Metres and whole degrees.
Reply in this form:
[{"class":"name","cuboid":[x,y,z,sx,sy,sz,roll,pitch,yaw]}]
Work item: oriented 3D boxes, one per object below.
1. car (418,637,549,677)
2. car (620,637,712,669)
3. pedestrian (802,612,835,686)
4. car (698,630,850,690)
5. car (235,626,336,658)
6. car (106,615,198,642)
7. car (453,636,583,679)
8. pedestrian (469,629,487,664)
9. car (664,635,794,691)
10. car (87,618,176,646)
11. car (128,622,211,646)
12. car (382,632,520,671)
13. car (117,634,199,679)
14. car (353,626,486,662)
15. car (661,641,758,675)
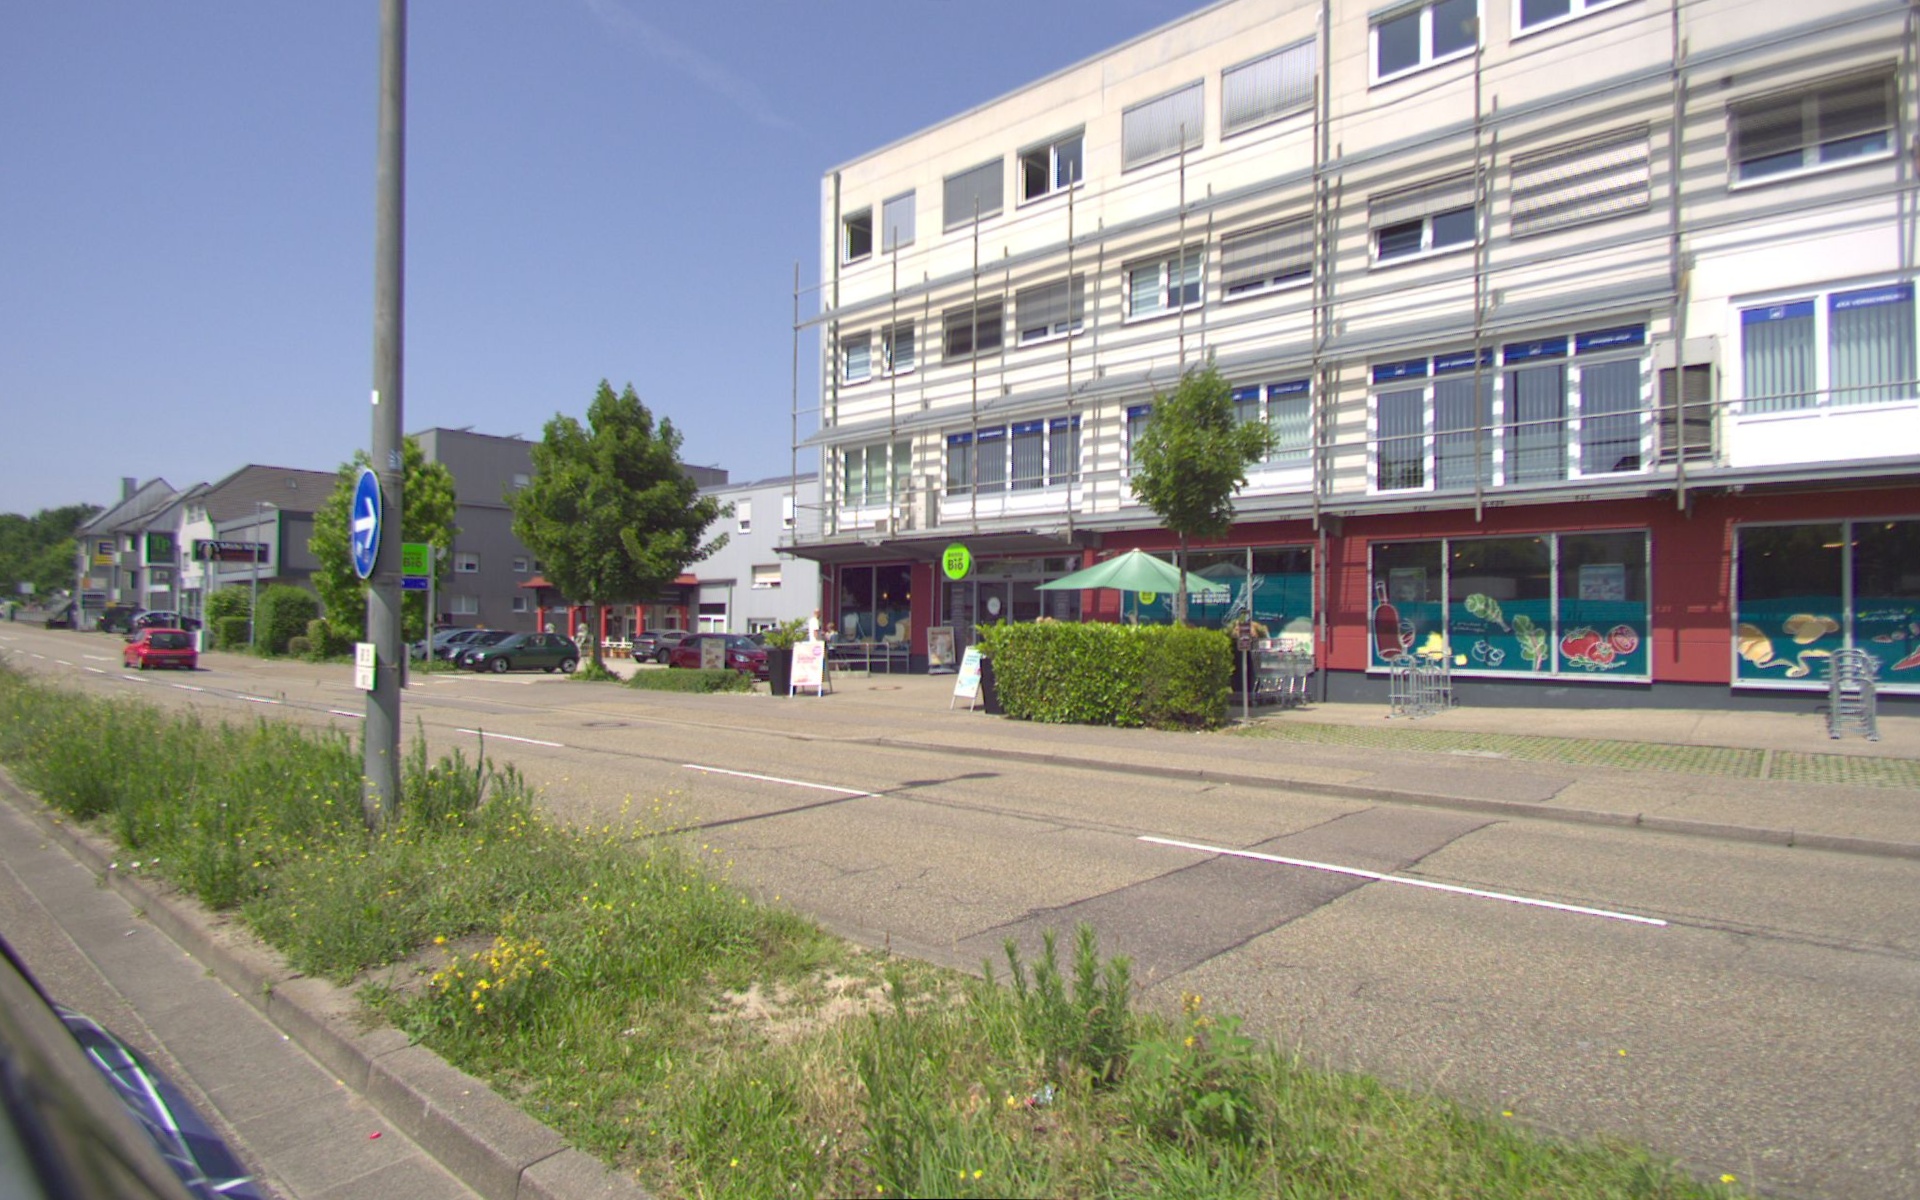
[{"class":"car","cuboid":[-17.034,2.056,36.324,1.858,1.344,3.800,-1,-4,39]},{"class":"car","cuboid":[-14.219,2.526,49.073,1.959,1.478,3.937,-1,-2,35]},{"class":"pedestrian","cuboid":[-3.634,1.257,26.037,0.498,1.881,0.668,-2,-3,40]},{"class":"car","cuboid":[-5.871,1.839,31.641,5.161,1.747,1.741,-1,-5,40]},{"class":"car","cuboid":[-34.242,2.113,51.461,1.572,1.470,3.952,1,-1,35]},{"class":"car","cuboid":[-55.537,1.913,69.631,1.747,1.507,4.571,-1,2,32]},{"class":"car","cuboid":[-14.995,1.950,34.429,1.779,1.375,3.620,-2,-4,41]},{"class":"pedestrian","cuboid":[-23.553,2.256,49.449,0.624,1.669,0.540,1,0,39]},{"class":"car","cuboid":[-6.690,1.792,29.166,3.794,1.478,1.642,-1,-5,40]},{"class":"car","cuboid":[-58.192,2.228,71.154,1.852,1.639,4.560,0,2,39]},{"class":"car","cuboid":[-53.252,2.281,68.228,1.997,1.532,4.019,0,-2,37]},{"class":"car","cuboid":[-18.984,1.930,37.883,1.978,1.359,4.181,-1,-4,39]},{"class":"car","cuboid":[-28.231,1.972,35.591,3.449,1.435,1.614,-1,-3,41]},{"class":"car","cuboid":[-21.145,1.742,39.690,2.040,1.352,4.109,-1,-4,38]},{"class":"car","cuboid":[-11.593,2.686,46.979,2.070,1.478,3.936,-1,-4,38]}]
